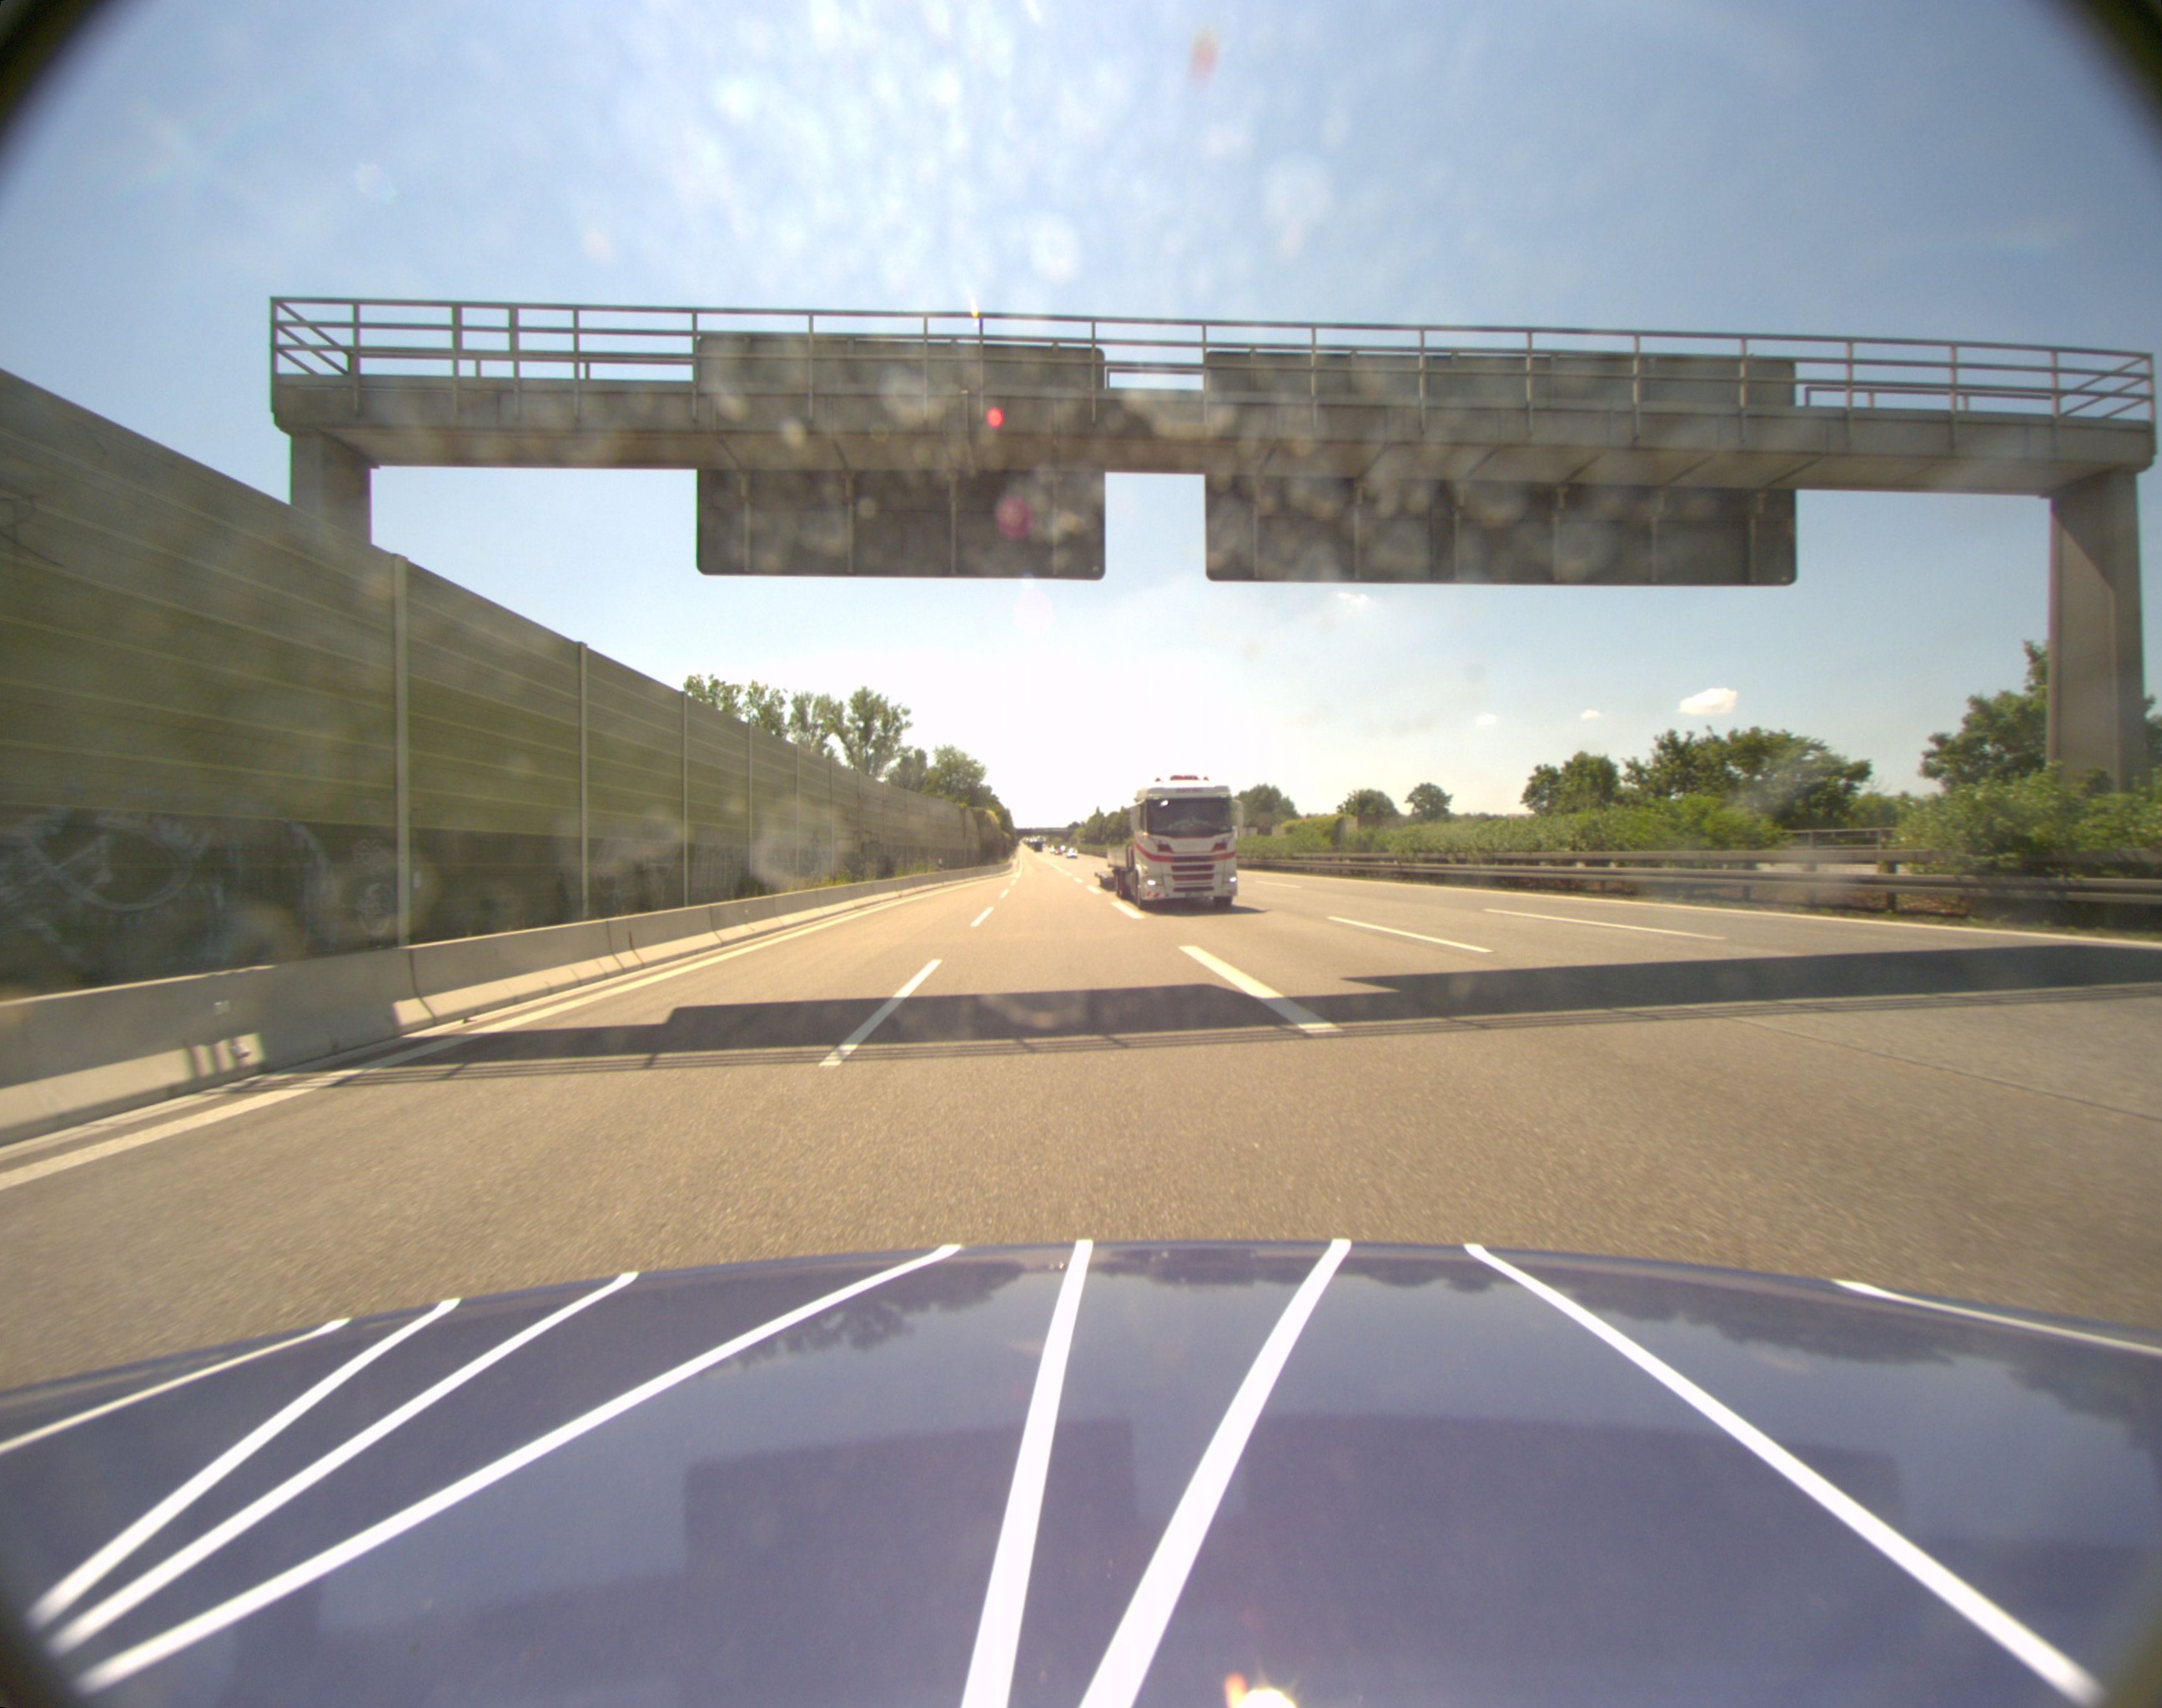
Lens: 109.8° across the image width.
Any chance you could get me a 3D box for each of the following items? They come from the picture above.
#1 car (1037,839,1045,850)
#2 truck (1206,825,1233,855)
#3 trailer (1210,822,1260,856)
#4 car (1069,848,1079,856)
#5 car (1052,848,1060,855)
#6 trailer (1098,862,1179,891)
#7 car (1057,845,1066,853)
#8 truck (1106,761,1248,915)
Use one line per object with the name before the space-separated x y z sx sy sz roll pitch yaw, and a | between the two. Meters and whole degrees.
car | -12.561 -2.896 238.071 2.116 3.283 6.442 -2 0 -5
truck | 19.556 -1.940 107.560 2.612 4.132 4.746 -2 1 -4
trailer | 20.087 -1.900 100.259 2.613 4.109 14.221 -2 1 -5
car | -1.265 -0.404 138.507 1.787 1.494 4.170 -1 0 -3
car | -6.782 -0.721 204.210 1.998 1.832 4.000 -2 0 1
trailer | 2.331 0.929 33.650 2.722 0.929 7.757 -2 0 -2
car | -4.612 -1.132 180.356 1.998 1.832 4.000 -2 0 1
truck | 2.611 -0.443 24.443 2.722 3.780 10.668 -2 0 -2
